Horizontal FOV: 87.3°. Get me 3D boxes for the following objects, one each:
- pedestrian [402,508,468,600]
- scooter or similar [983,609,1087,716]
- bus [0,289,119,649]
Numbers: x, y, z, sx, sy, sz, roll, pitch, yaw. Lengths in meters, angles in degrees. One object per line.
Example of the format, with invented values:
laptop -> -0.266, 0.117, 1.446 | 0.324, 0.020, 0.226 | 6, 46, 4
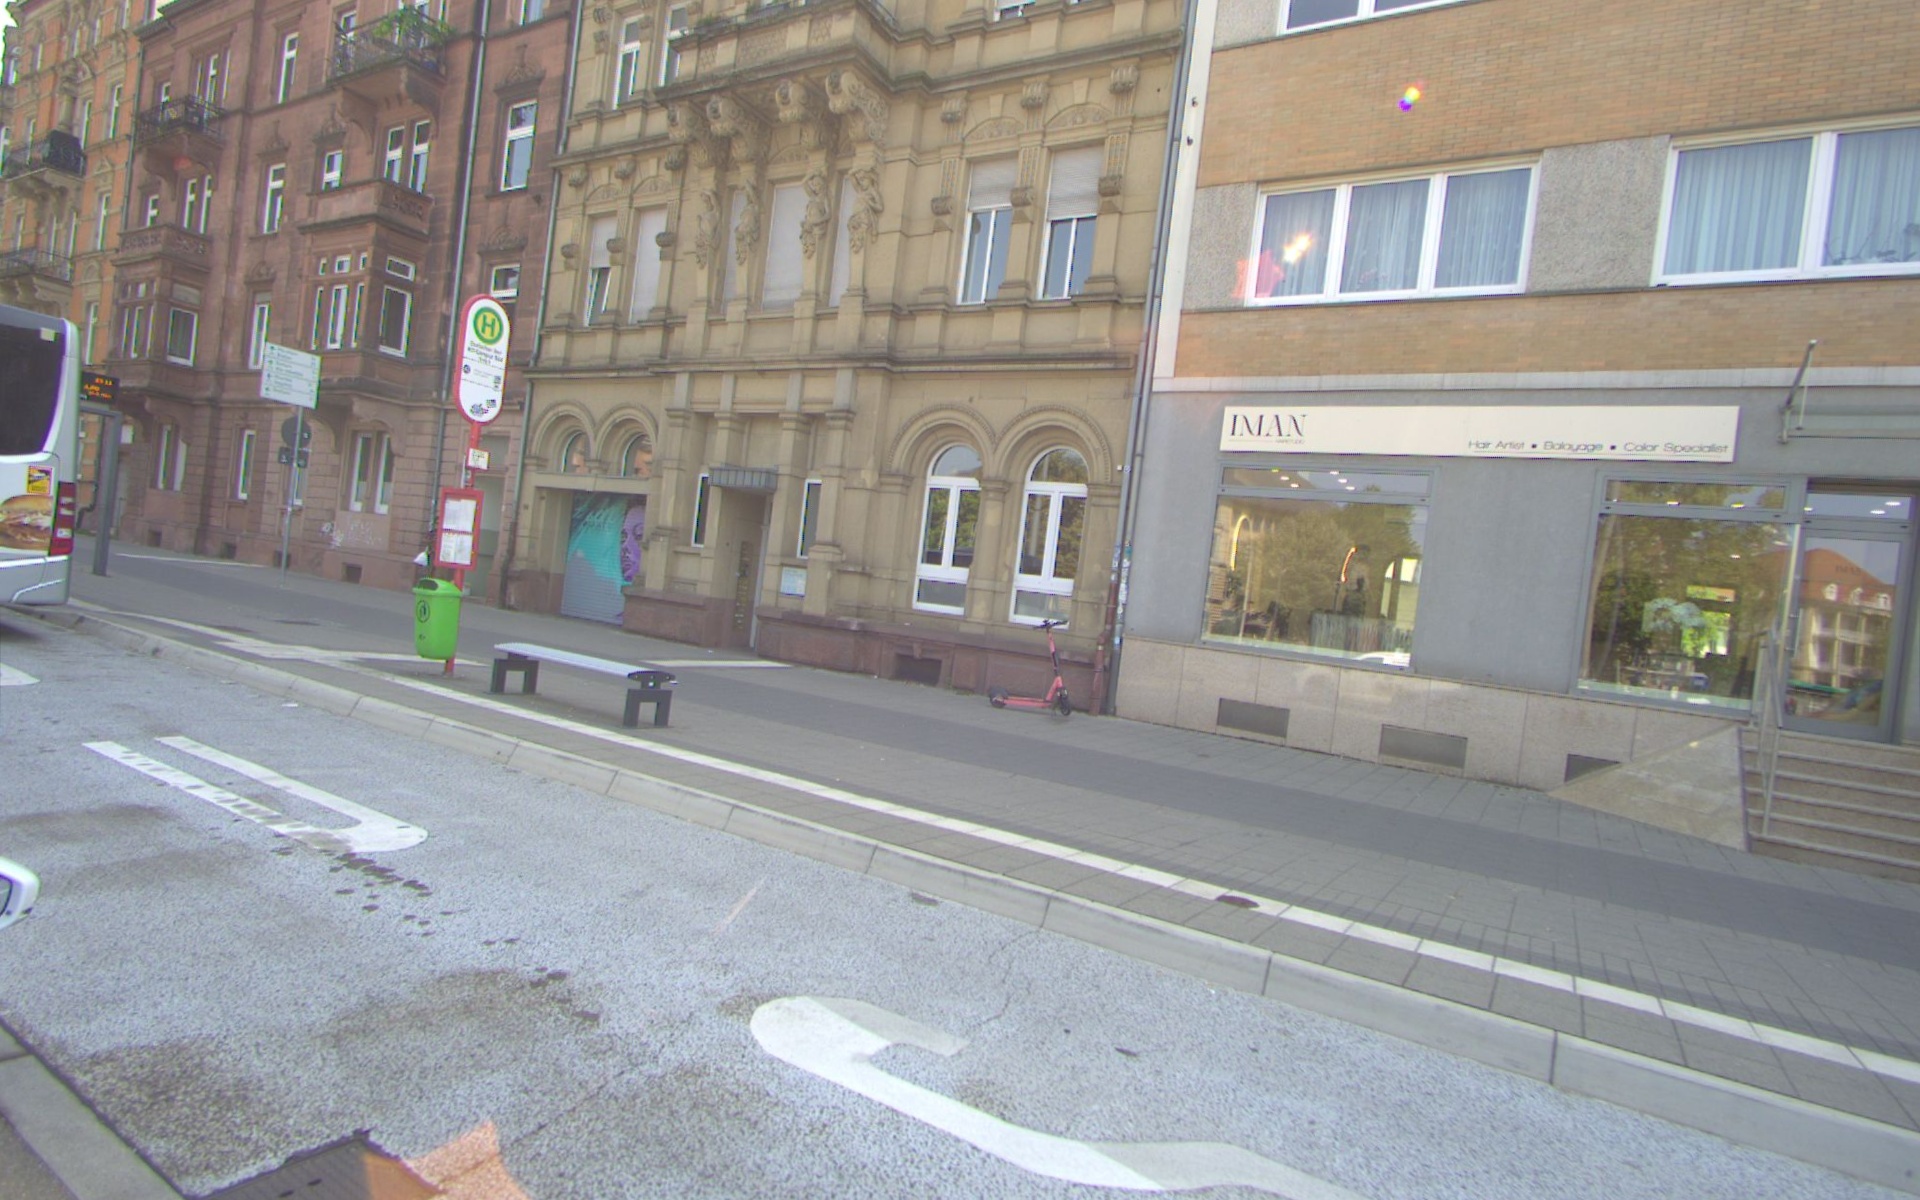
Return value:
pedestrian -> -11.014, -0.953, 21.127 | 0.729, 1.800, 0.870 | 7, 1, 4
scooter or similar -> 0.979, 0.804, 13.156 | 1.122, 1.228, 0.476 | 7, 1, 27
bus -> -13.640, -1.718, 11.555 | 11.761, 3.149, 2.742 | 7, 3, 33
